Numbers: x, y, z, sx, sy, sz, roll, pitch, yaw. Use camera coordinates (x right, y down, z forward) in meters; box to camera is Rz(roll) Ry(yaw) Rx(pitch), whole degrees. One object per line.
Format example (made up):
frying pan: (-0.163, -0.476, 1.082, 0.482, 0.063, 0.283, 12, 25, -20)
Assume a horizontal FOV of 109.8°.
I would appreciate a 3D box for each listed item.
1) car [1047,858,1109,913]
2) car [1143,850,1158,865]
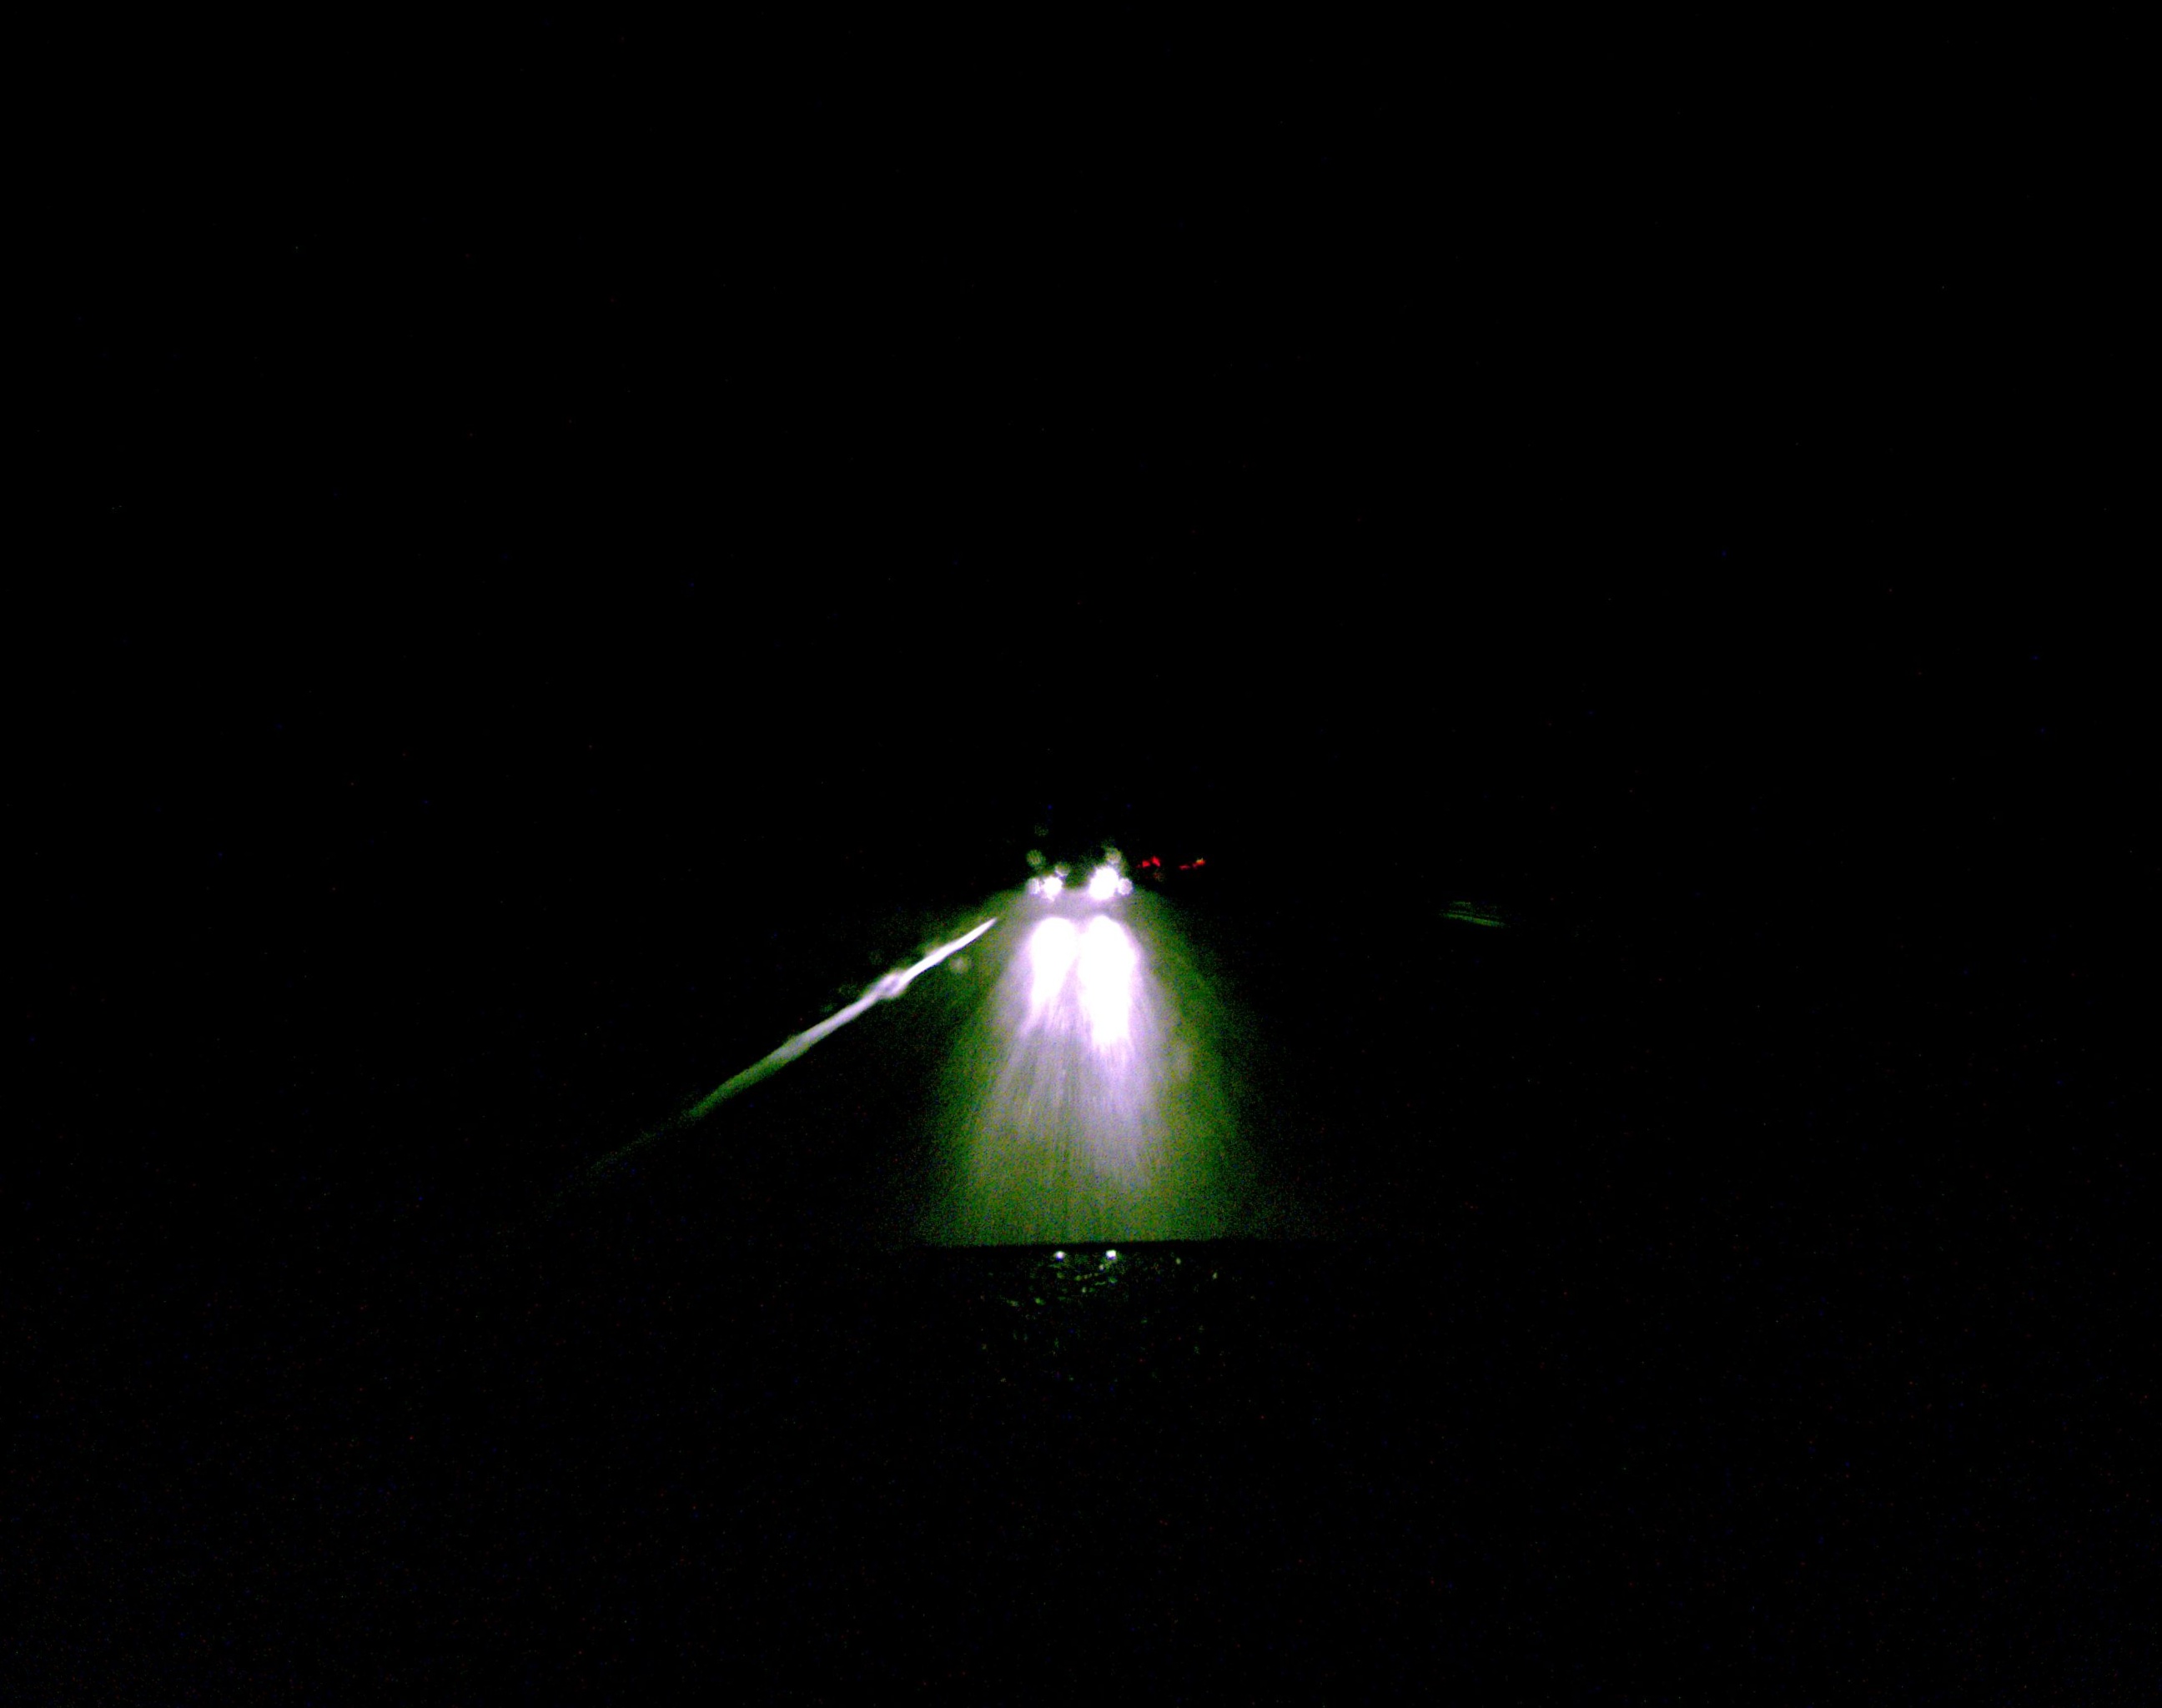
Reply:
car: (-0.022, 0.931, 24.265, 1.744, 1.501, 3.600, -3, 0, 2)
car: (9.321, 0.443, 102.309, 1.998, 2.002, 4.458, -1, 0, 4)
